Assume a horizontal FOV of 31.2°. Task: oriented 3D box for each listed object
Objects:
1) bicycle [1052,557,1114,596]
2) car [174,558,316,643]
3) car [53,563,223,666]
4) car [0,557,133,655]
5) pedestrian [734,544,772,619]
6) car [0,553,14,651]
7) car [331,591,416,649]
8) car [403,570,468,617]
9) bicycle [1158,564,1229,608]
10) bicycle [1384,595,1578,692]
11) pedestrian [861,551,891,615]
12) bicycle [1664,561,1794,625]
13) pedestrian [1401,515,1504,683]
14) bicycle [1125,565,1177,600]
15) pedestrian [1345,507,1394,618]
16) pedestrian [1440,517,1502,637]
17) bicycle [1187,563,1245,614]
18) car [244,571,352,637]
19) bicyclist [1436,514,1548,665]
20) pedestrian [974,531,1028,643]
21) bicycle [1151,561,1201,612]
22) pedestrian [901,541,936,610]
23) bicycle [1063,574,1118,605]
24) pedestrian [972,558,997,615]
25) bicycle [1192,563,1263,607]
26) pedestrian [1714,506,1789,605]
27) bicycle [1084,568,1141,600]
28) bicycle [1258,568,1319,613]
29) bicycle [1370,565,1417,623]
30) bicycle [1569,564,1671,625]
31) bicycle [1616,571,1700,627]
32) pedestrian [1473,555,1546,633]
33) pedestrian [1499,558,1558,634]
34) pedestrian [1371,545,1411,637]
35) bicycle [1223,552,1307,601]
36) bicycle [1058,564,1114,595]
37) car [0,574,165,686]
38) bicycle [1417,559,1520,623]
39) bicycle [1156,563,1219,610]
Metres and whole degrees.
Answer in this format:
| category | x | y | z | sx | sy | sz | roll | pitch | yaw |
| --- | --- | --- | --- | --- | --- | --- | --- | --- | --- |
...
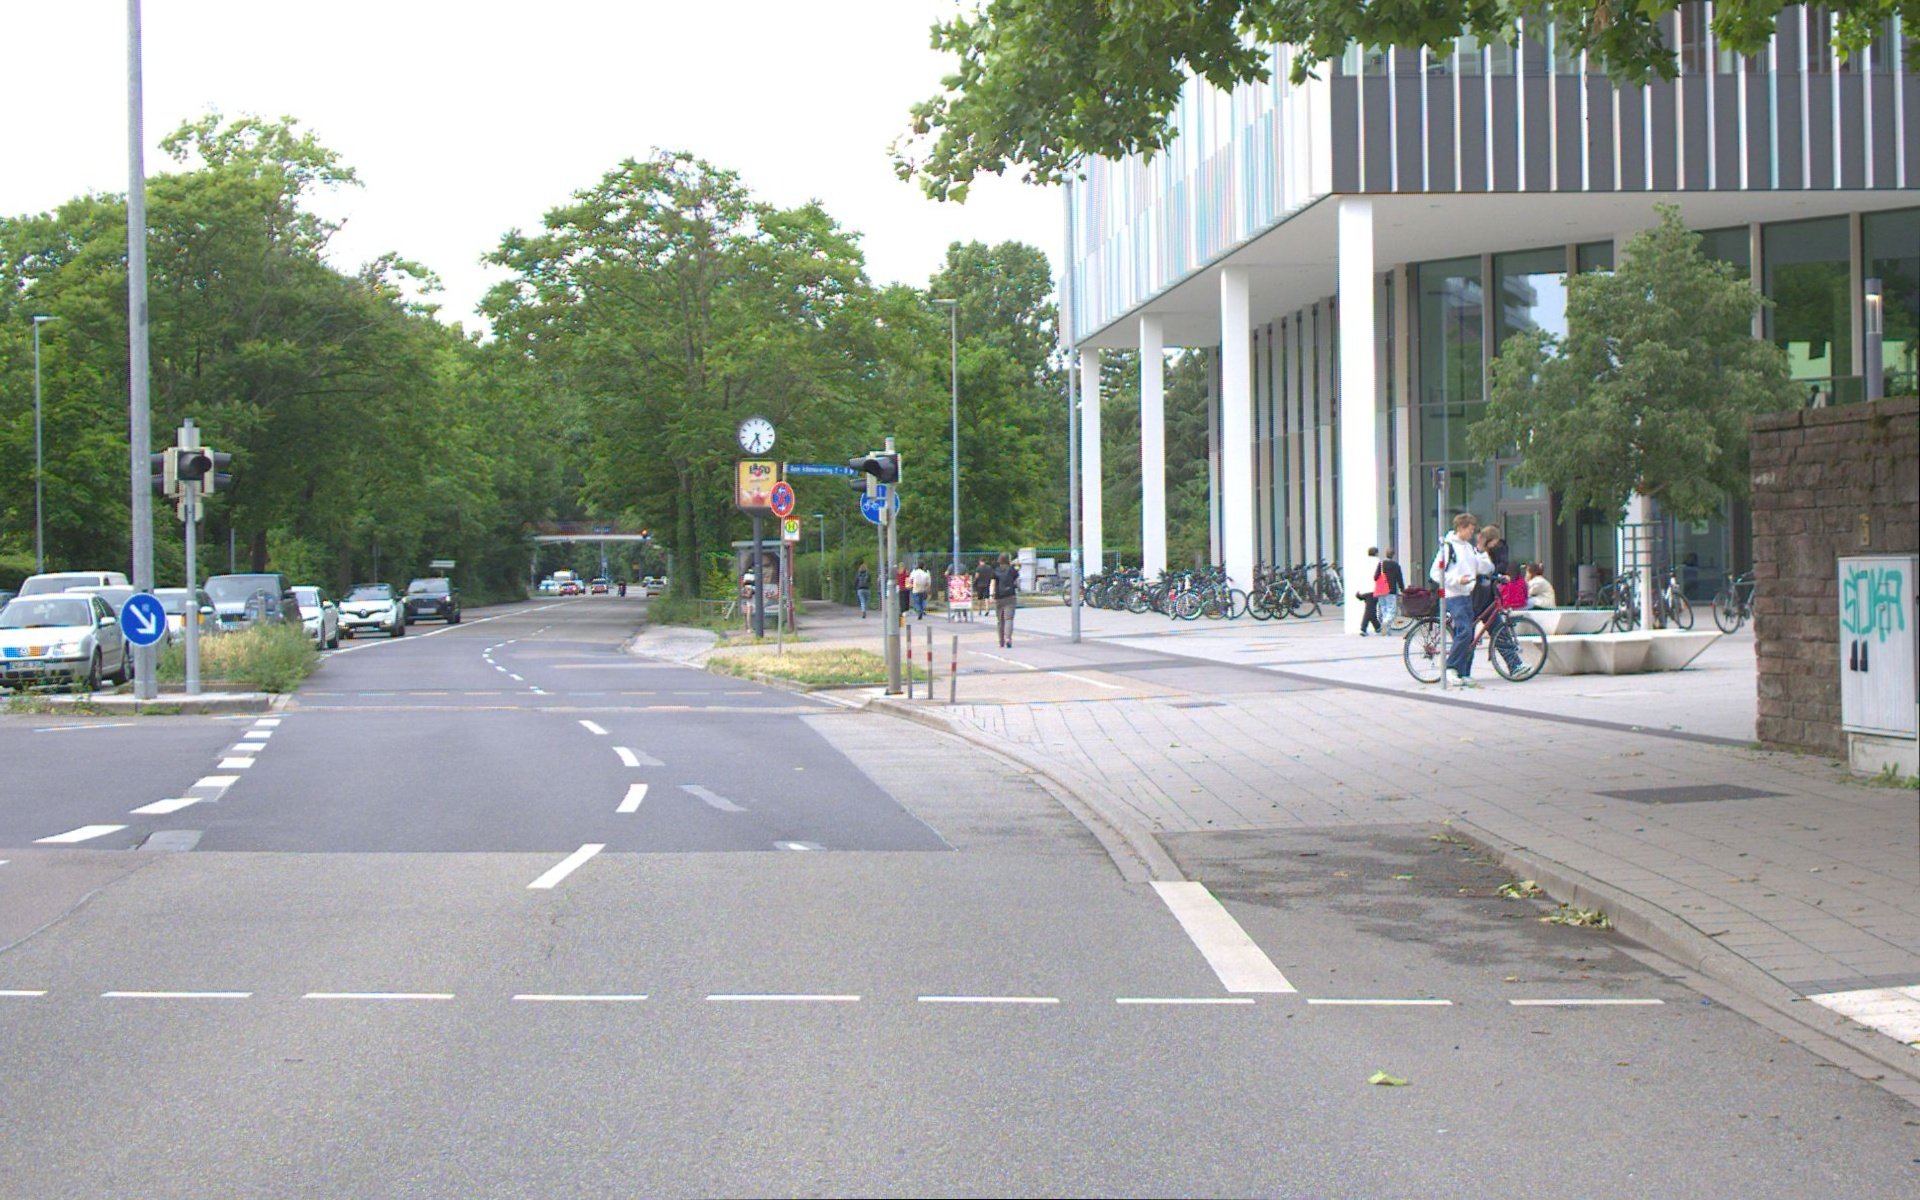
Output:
| category | x | y | z | sx | sy | sz | roll | pitch | yaw |
| --- | --- | --- | --- | --- | --- | --- | --- | --- | --- |
| bicycle | 3.820 | -0.731 | 106.619 | 1.794 | 1.078 | 0.626 | -3 | 1 | -6 |
| car | -14.783 | -0.025 | 71.343 | 1.993 | 1.681 | 4.948 | 0 | 1 | -1 |
| car | -14.068 | 0.218 | 59.052 | 1.957 | 1.578 | 4.256 | -2 | 1 | -2 |
| car | -17.766 | 0.092 | 68.297 | 1.771 | 1.841 | 4.489 | 1 | 1 | -3 |
| pedestrian | -5.701 | -0.518 | 94.767 | 0.912 | 2.006 | 0.854 | -3 | 3 | -5 |
| car | -16.864 | 0.063 | 55.403 | 1.993 | 1.614 | 4.000 | -1 | 1 | 2 |
| car | -16.988 | 0.567 | 99.656 | 1.993 | 1.541 | 4.180 | -3 | 1 | -4 |
| car | -18.493 | -0.237 | 121.430 | 1.902 | 1.588 | 4.517 | -1 | 1 | -4 |
| bicycle | 5.692 | -0.343 | 83.694 | 1.606 | 0.979 | 0.556 | -4 | 1 | -4 |
| bicycle | 5.761 | 0.466 | 38.063 | 1.973 | 1.014 | 0.794 | 1 | 1 | 36 |
| pedestrian | -2.687 | -0.541 | 109.897 | 0.823 | 2.007 | 0.720 | -1 | 0 | -9 |
| bicycle | 12.758 | -0.119 | 57.035 | 2.185 | 1.003 | 0.781 | -1 | -2 | -34 |
| pedestrian | 5.326 | -0.016 | 37.167 | 0.782 | 1.789 | 0.788 | -1 | 1 | 39 |
| bicycle | 4.996 | -0.460 | 90.045 | 1.283 | 0.872 | 0.556 | -2 | 1 | -4 |
| pedestrian | 7.455 | -0.685 | 62.598 | 0.644 | 2.007 | 0.656 | -1 | 0 | -13 |
| pedestrian | 8.688 | -0.394 | 58.499 | 0.842 | 2.007 | 0.894 | -1 | 0 | -3 |
| bicycle | 5.698 | -0.258 | 76.714 | 0.607 | 1.076 | 1.963 | -3 | 1 | -16 |
| car | -15.339 | 0.066 | 79.871 | 1.903 | 1.460 | 4.912 | 1 | 1 | -5 |
| bicyclist | 5.877 | -0.123 | 37.981 | 0.968 | 1.640 | 0.734 | 1 | 0 | 35 |
| pedestrian | 0.750 | -0.242 | 63.367 | 0.842 | 2.007 | 0.894 | -3 | 1 | -3 |
| bicycle | 4.984 | -0.316 | 79.475 | 0.635 | 1.136 | 2.201 | -4 | 1 | -9 |
| pedestrian | -1.231 | -0.718 | 101.459 | 0.925 | 2.007 | 1.040 | -1 | 0 | -5 |
| bicycle | 3.934 | -0.312 | 103.667 | 1.606 | 0.872 | 0.556 | -2 | 1 | -4 |
| pedestrian | 0.727 | -0.413 | 102.194 | 0.729 | 1.678 | 0.747 | 1 | 0 | -1 |
| bicycle | 6.406 | -0.358 | 82.304 | 1.606 | 0.932 | 0.568 | -3 | 1 | 6 |
| pedestrian | 16.626 | -0.931 | 72.170 | 1.183 | 2.055 | 1.133 | 1 | 0 | 34 |
| bicycle | 4.537 | -0.482 | 102.099 | 1.606 | 0.872 | 0.556 | -2 | 1 | -4 |
| bicycle | 7.170 | -0.208 | 75.082 | 1.484 | 0.926 | 0.440 | -3 | 3 | -43 |
| bicycle | 8.131 | -0.120 | 64.594 | 0.638 | 1.058 | 1.840 | 1 | 1 | 0 |
| bicycle | 11.406 | -0.100 | 59.387 | 0.774 | 0.998 | 1.955 | -1 | 1 | 44 |
| bicycle | 11.919 | -0.020 | 58.672 | 0.671 | 0.896 | 1.842 | -1 | 1 | 37 |
| pedestrian | 8.654 | -0.093 | 54.147 | 0.844 | 1.202 | 0.893 | -1 | 1 | 30 |
| pedestrian | 9.057 | -0.065 | 54.774 | 0.892 | 1.189 | 0.845 | -1 | 1 | 10 |
| pedestrian | 7.754 | -0.166 | 61.806 | 0.675 | 1.635 | 0.653 | -1 | 0 | 8 |
| bicycle | 7.582 | -0.582 | 85.494 | 1.985 | 1.140 | 0.647 | -2 | 1 | 37 |
| bicycle | 3.837 | -0.618 | 104.619 | 1.606 | 0.872 | 0.556 | -2 | 1 | -4 |
| car | -13.182 | 0.415 | 50.188 | 1.993 | 1.524 | 4.274 | -1 | 1 | 2 |
| bicycle | 9.256 | -0.164 | 62.519 | 0.736 | 1.112 | 2.178 | -1 | 1 | 43 |
| bicycle | 5.508 | -0.324 | 83.110 | 1.400 | 1.040 | 0.559 | -3 | 1 | -4 |
